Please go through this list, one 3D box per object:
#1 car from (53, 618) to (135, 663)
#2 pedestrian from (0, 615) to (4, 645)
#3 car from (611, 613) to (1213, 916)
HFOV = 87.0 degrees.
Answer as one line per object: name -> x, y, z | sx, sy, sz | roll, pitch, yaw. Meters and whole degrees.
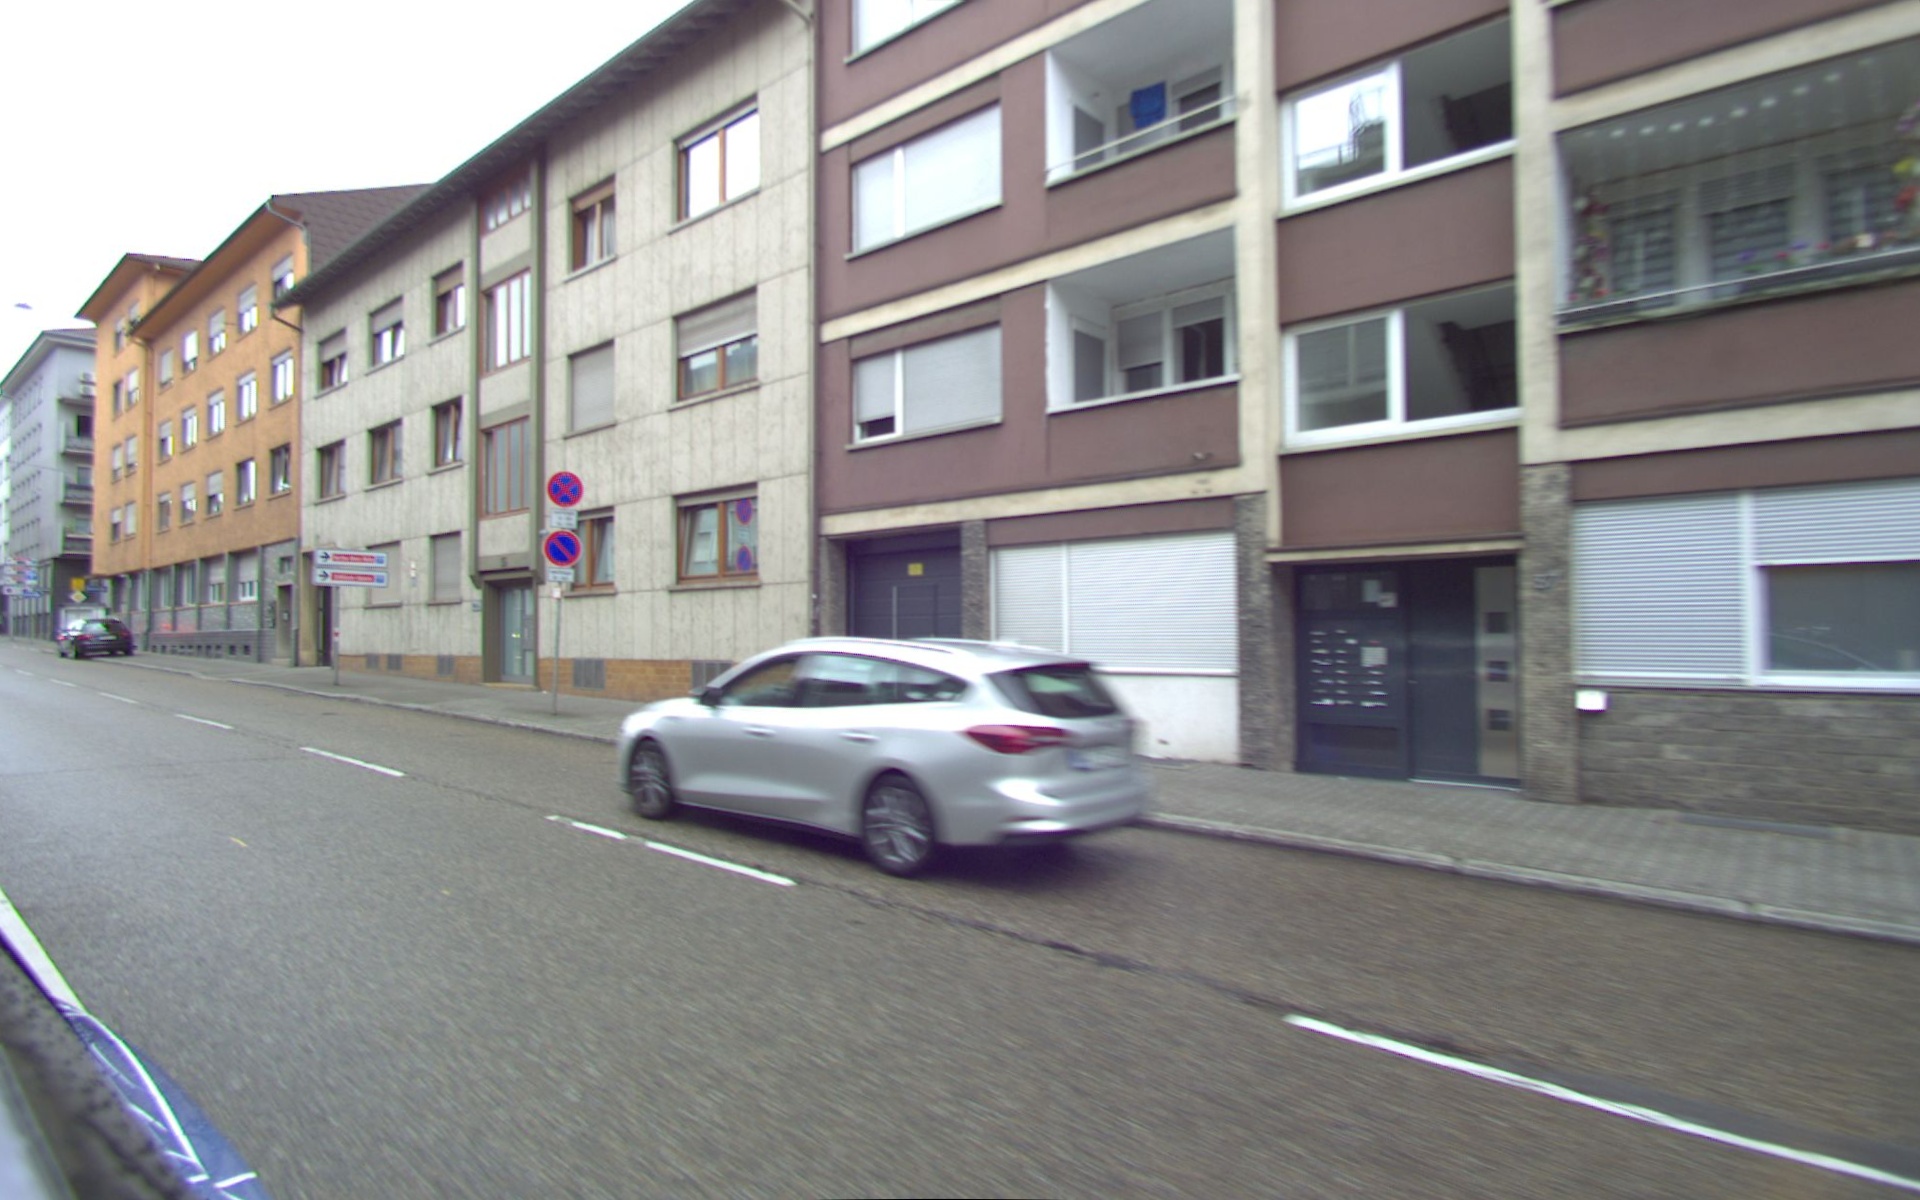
car -> -33.058, 1.504, 38.606 | 4.216, 1.485, 1.776 | 0, 2, 41
pedestrian -> -66.346, 2.068, 69.142 | 1.258, 2.028, 1.292 | 0, 1, 41
car -> -0.563, 0.916, 7.404 | 4.356, 1.551, 1.754 | 0, -2, 40
